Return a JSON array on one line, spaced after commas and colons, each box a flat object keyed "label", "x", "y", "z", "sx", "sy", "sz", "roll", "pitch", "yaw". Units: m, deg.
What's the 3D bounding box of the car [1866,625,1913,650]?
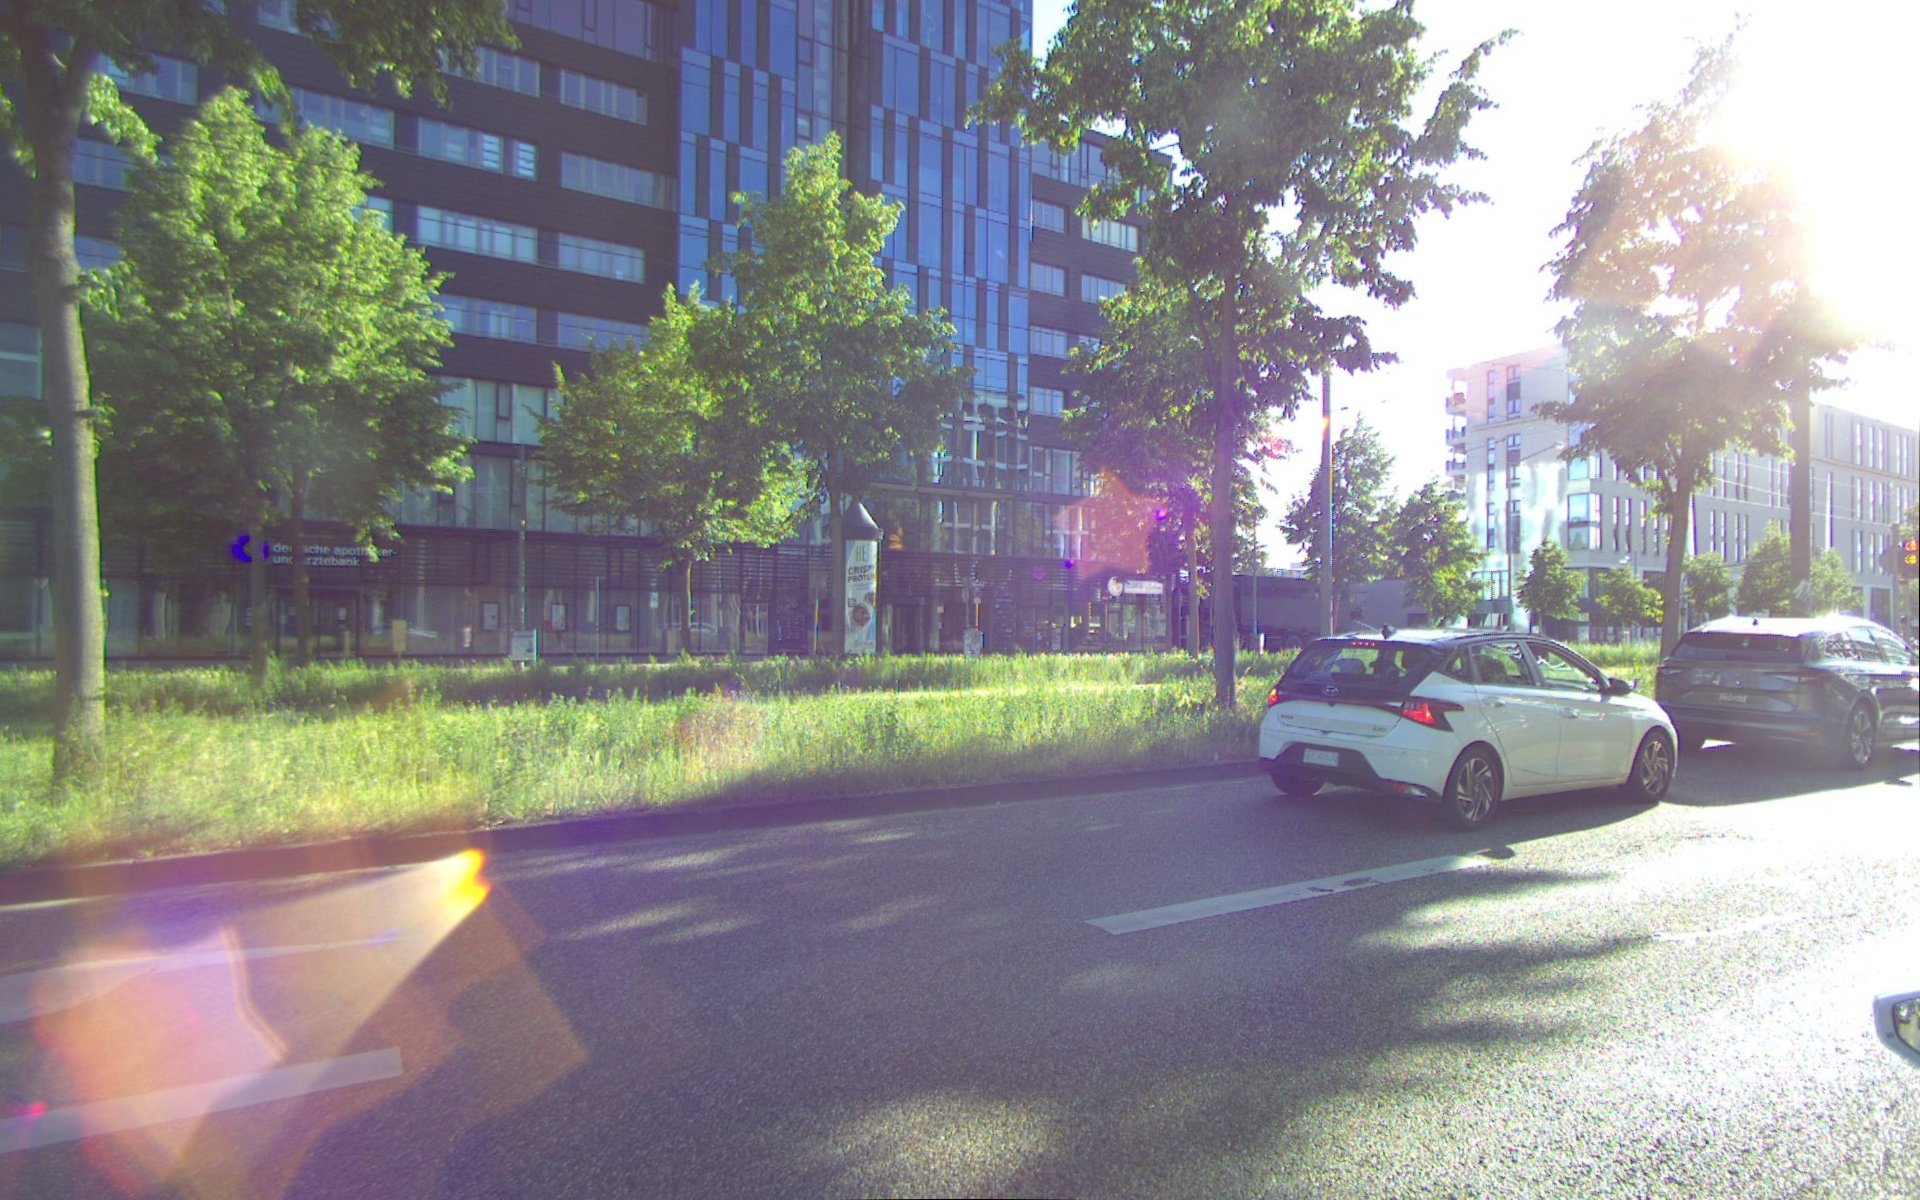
[{"label": "car", "x": 80.632, "y": 3.237, "z": 87.150, "sx": 3.953, "sy": 2.040, "sz": 1.984, "roll": 1, "pitch": -1, "yaw": -30}]

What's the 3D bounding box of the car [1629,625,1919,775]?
[{"label": "car", "x": 10.221, "y": 1.063, "z": 12.098, "sx": 4.514, "sy": 1.466, "sz": 1.791, "roll": 0, "pitch": -1, "yaw": -30}]

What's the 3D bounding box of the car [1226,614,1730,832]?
[{"label": "car", "x": 4.603, "y": 0.895, "z": 8.731, "sx": 4.515, "sy": 1.466, "sz": 1.790, "roll": 1, "pitch": -1, "yaw": -31}]

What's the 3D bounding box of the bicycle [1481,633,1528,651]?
[{"label": "bicycle", "x": 37.968, "y": 2.929, "z": 70.119, "sx": 0.808, "sy": 1.206, "sz": 2.929, "roll": 1, "pitch": -1, "yaw": -29}]

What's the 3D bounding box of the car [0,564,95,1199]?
[{"label": "car", "x": -3.720, "y": 0.627, "z": 0.329, "sx": 4.911, "sy": 1.504, "sz": 1.864, "roll": 2, "pitch": -1, "yaw": -32}]

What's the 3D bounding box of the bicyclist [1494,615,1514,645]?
[{"label": "bicyclist", "x": 37.986, "y": 2.085, "z": 70.142, "sx": 0.808, "sy": 2.120, "sz": 0.936, "roll": 1, "pitch": -1, "yaw": -29}]

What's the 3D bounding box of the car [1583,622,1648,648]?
[{"label": "car", "x": 40.173, "y": 2.146, "z": 61.547, "sx": 3.953, "sy": 1.540, "sz": 1.756, "roll": 1, "pitch": -1, "yaw": -30}]

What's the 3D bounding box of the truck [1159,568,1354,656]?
[{"label": "truck", "x": 14.350, "y": 0.661, "z": 48.125, "sx": 10.094, "sy": 3.904, "sz": 2.877, "roll": 1, "pitch": -1, "yaw": -31}]

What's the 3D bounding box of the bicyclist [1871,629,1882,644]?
[{"label": "bicyclist", "x": 91.458, "y": 3.634, "z": 100.223, "sx": 0.706, "sy": 1.549, "sz": 0.674, "roll": 1, "pitch": -1, "yaw": -30}]

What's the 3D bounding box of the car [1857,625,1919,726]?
[{"label": "car", "x": 16.849, "y": 1.255, "z": 16.649, "sx": 4.520, "sy": 1.503, "sz": 1.788, "roll": 2, "pitch": 2, "yaw": -33}]

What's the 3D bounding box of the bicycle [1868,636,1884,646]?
[{"label": "bicycle", "x": 91.366, "y": 4.123, "z": 100.179, "sx": 1.933, "sy": 1.001, "sz": 0.674, "roll": 2, "pitch": -1, "yaw": -31}]
